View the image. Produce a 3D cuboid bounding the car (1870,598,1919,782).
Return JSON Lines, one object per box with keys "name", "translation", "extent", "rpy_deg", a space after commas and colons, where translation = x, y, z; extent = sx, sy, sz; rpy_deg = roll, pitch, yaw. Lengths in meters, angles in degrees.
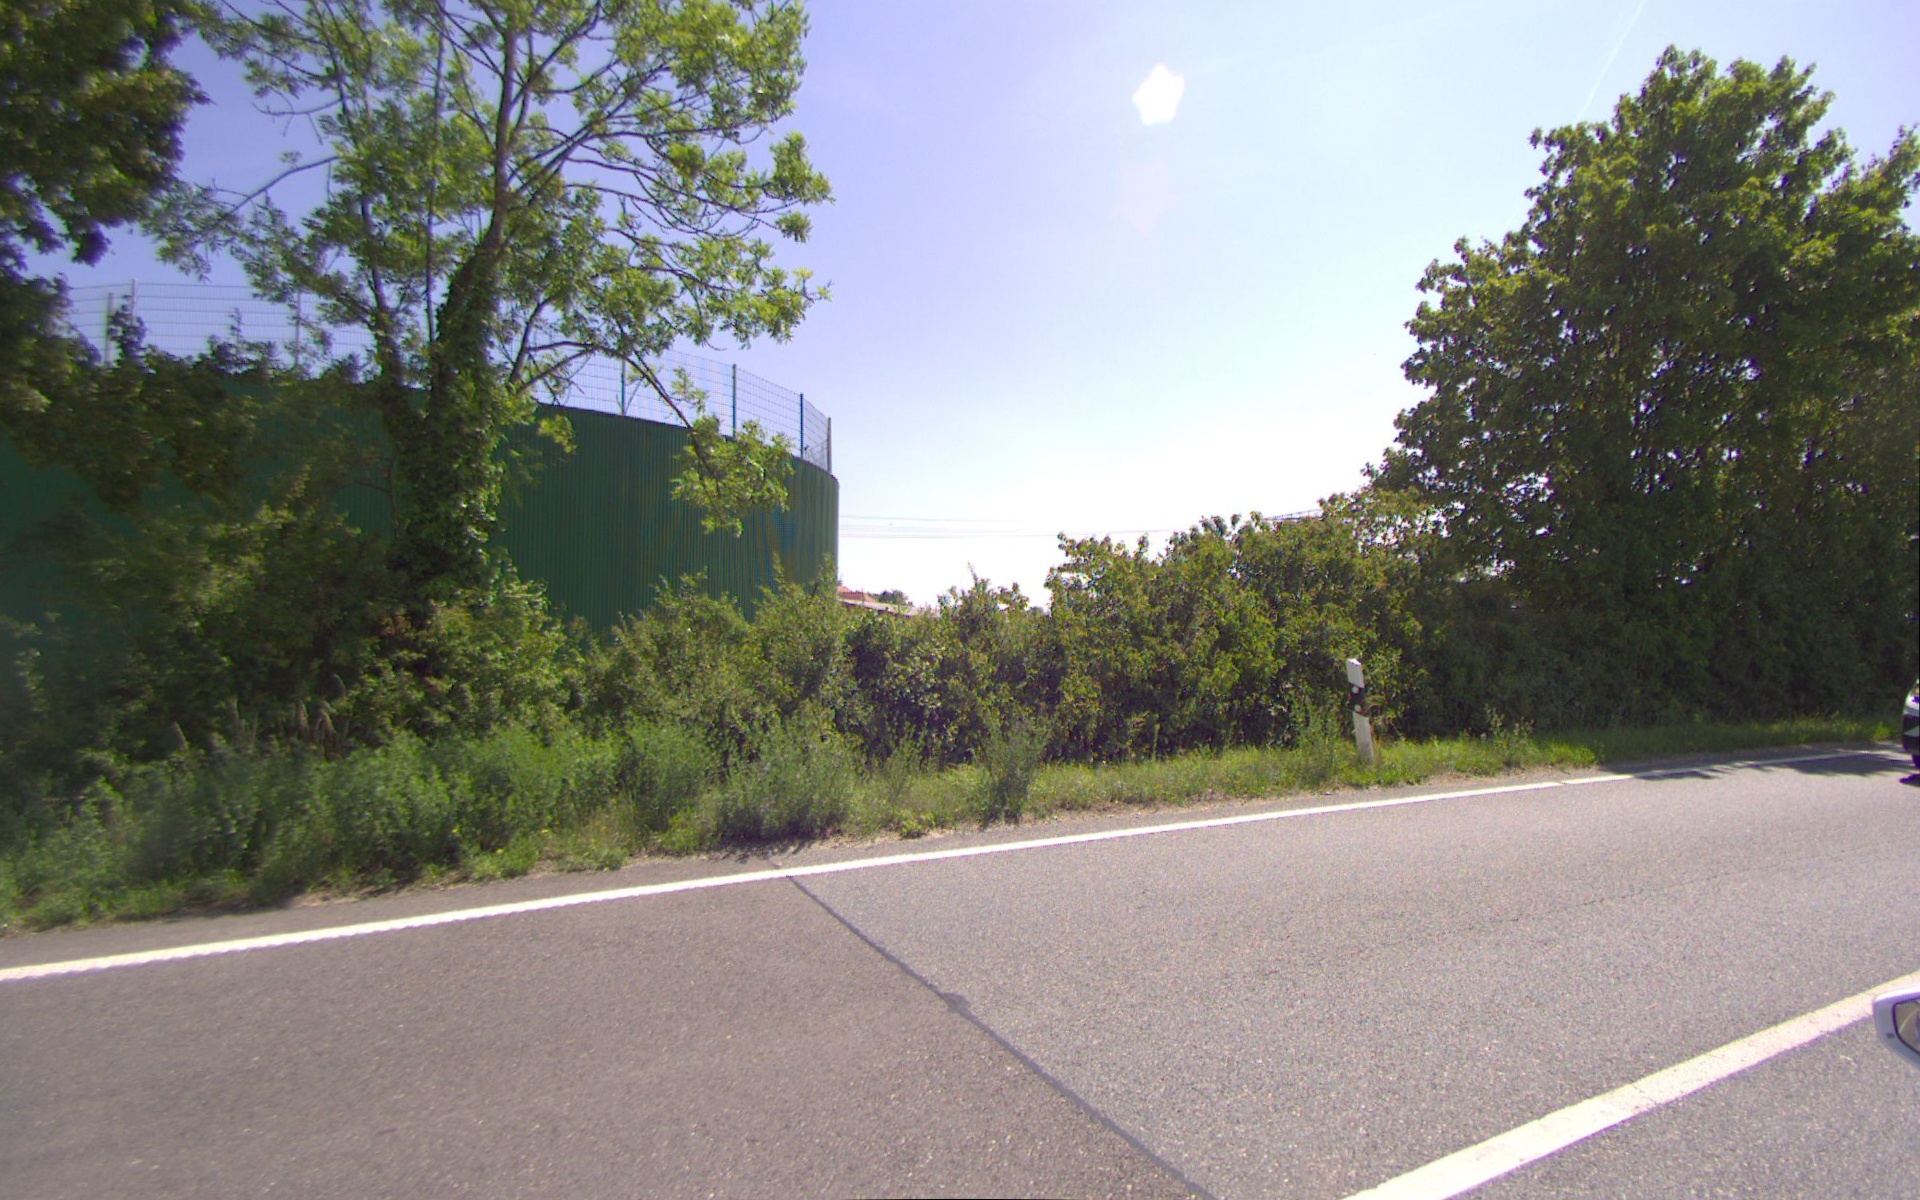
{"name": "car", "translation": [10.886, 0.858, 9.396], "extent": [4.713, 1.623, 1.849], "rpy_deg": [1, 0, -25]}
